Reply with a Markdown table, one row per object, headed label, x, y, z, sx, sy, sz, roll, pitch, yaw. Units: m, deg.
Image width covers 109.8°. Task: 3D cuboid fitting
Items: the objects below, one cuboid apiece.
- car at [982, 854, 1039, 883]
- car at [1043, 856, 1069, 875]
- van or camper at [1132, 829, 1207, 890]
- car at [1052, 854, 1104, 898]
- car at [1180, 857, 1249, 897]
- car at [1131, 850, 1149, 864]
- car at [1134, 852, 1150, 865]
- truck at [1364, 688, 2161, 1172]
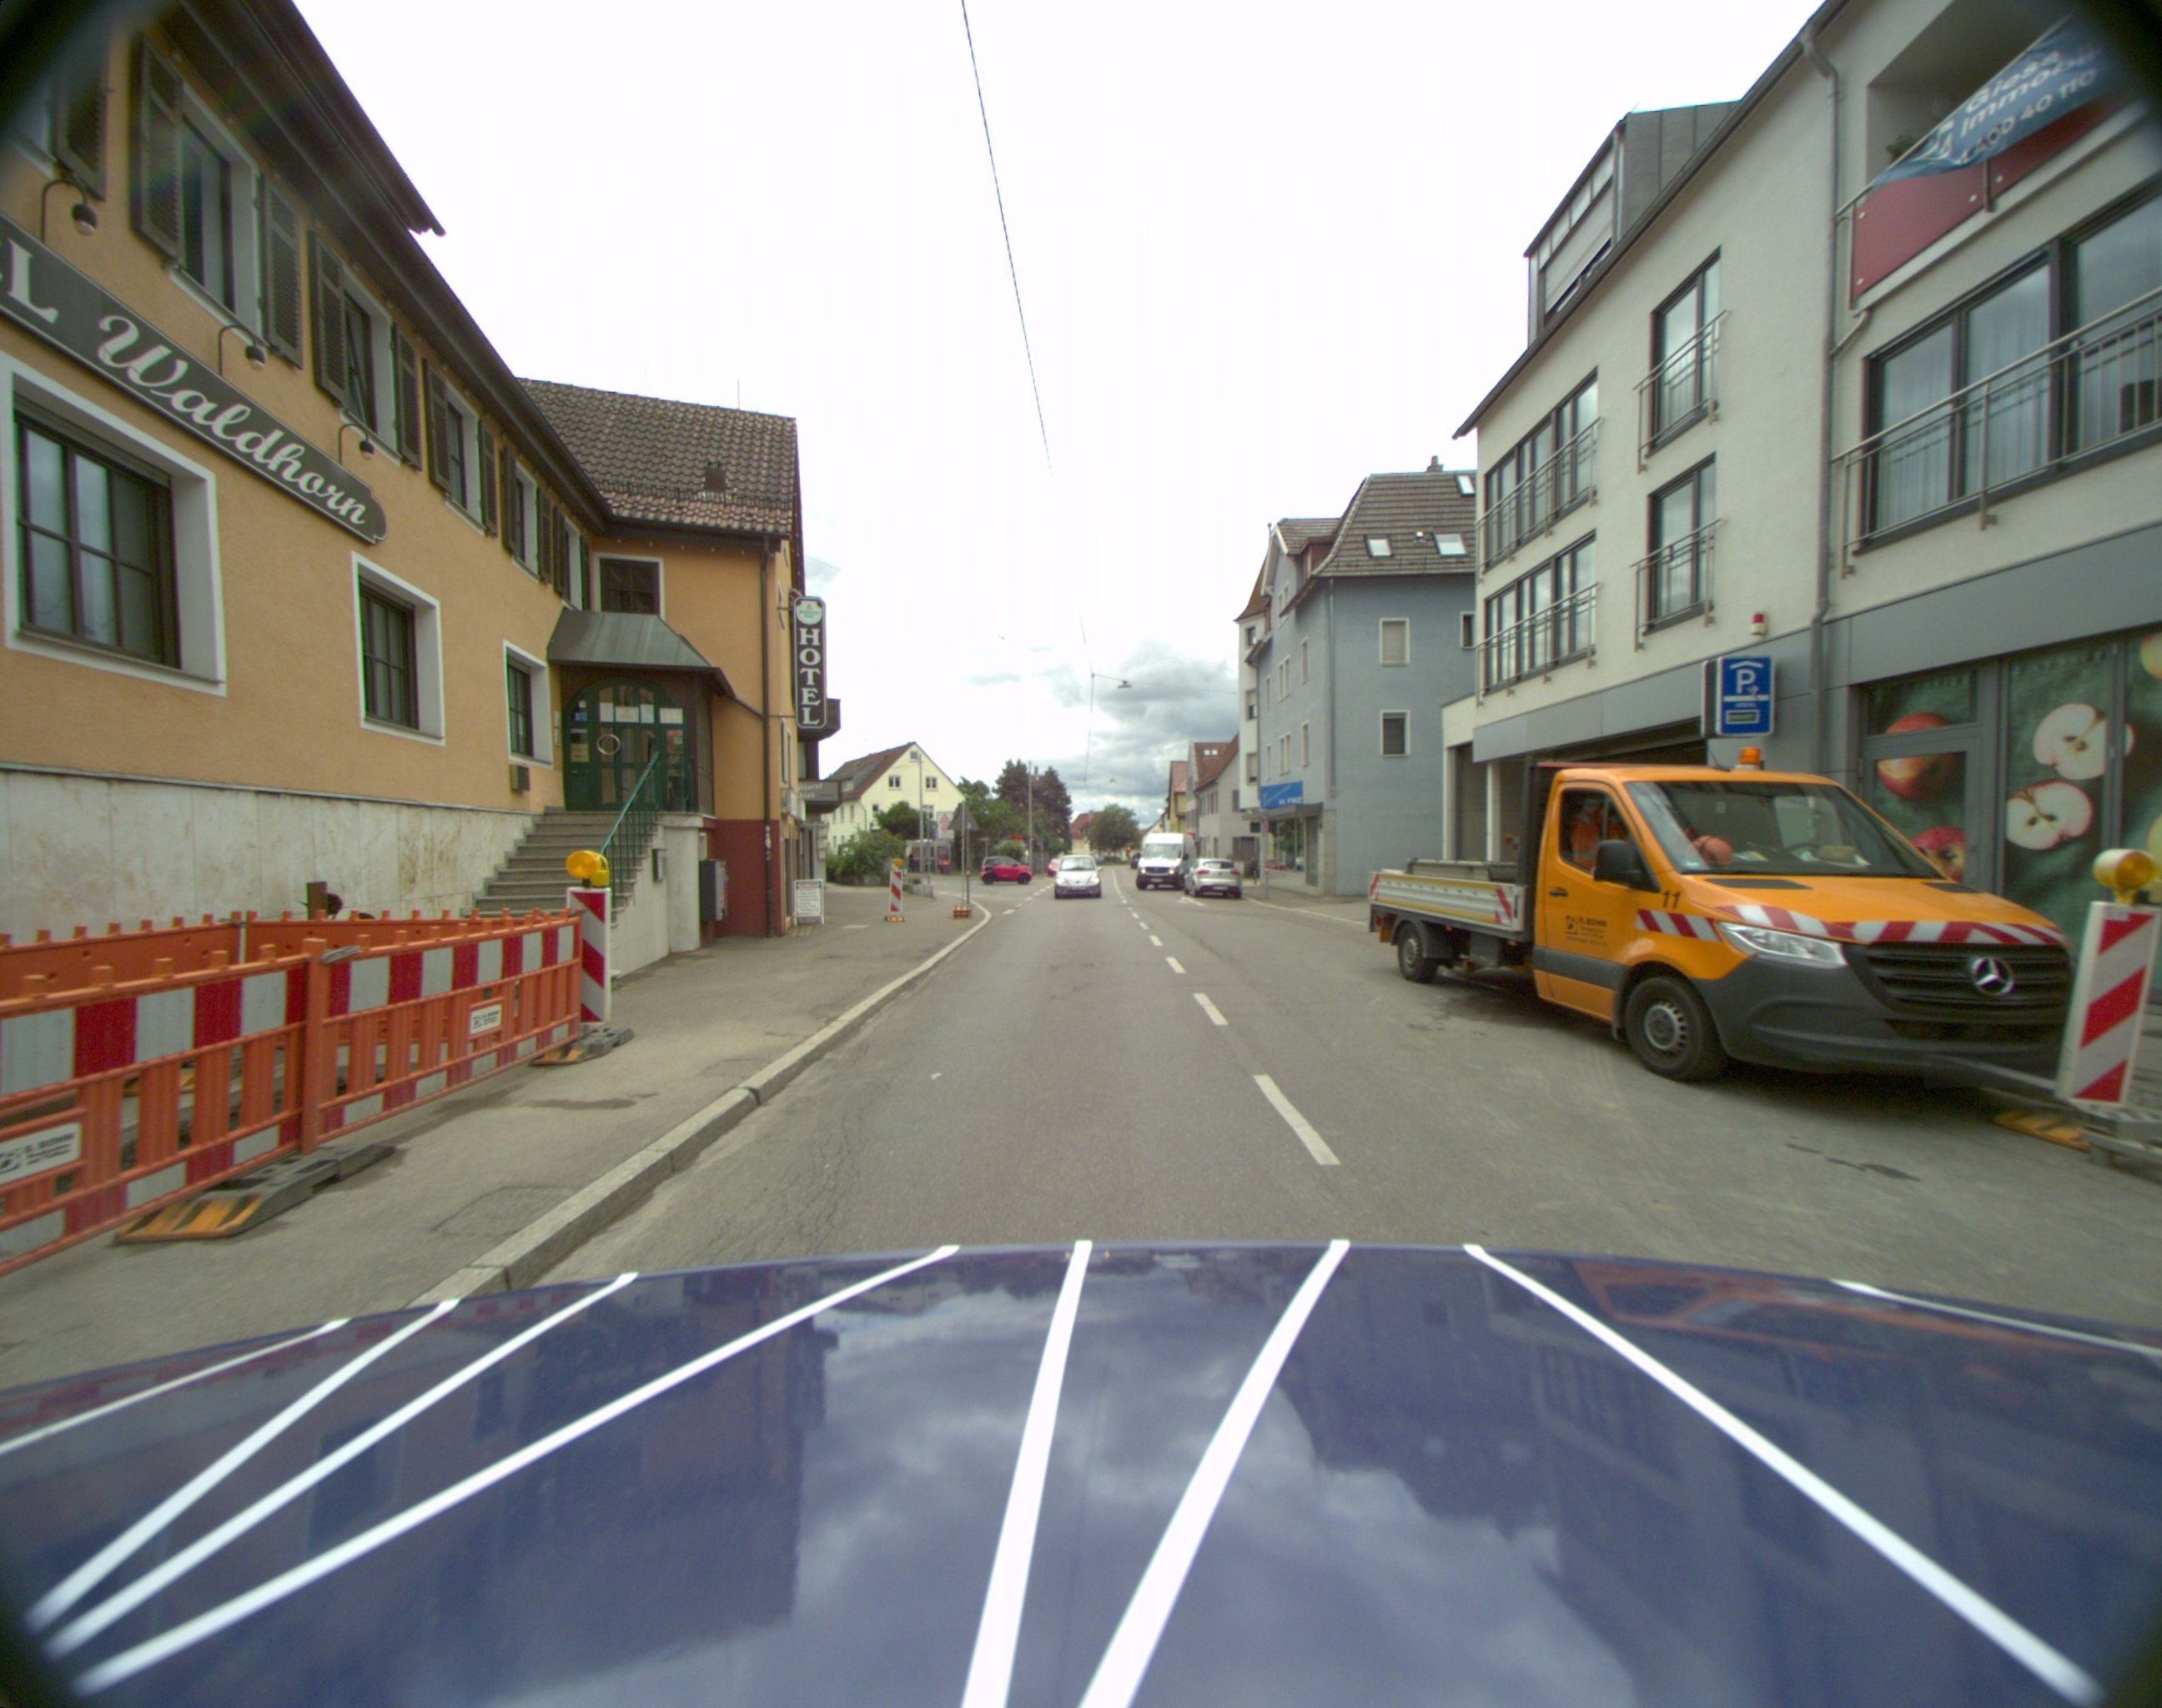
| label | x | y | z | sx | sy | sz | roll | pitch | yaw |
| --- | --- | --- | --- | --- | --- | --- | --- | --- | --- |
| car | -3.900 | 0.774 | 41.744 | 2.940 | 1.511 | 1.818 | 0 | 0 | -12 |
| car | -2.011 | 0.883 | 61.501 | 1.718 | 1.472 | 4.001 | 0 | 0 | 4 |
| van or camper | 4.299 | 0.216 | 35.815 | 2.322 | 2.592 | 6.216 | 0 | 0 | 18 |
| car | -0.040 | 0.795 | 29.280 | 1.858 | 1.547 | 4.353 | 0 | 0 | 2 |
| car | 4.973 | 0.810 | 28.871 | 1.802 | 1.403 | 3.999 | 0 | 0 | -2 |
| car | 7.805 | 0.335 | 100.924 | 2.111 | 1.838 | 4.353 | 0 | 0 | 2 |
| car | 7.508 | 0.525 | 94.029 | 1.717 | 1.559 | 4.353 | 0 | 0 | 2 |
| truck | 4.944 | 0.382 | 7.007 | 2.419 | 2.451 | 6.308 | 0 | 0 | 1 |
